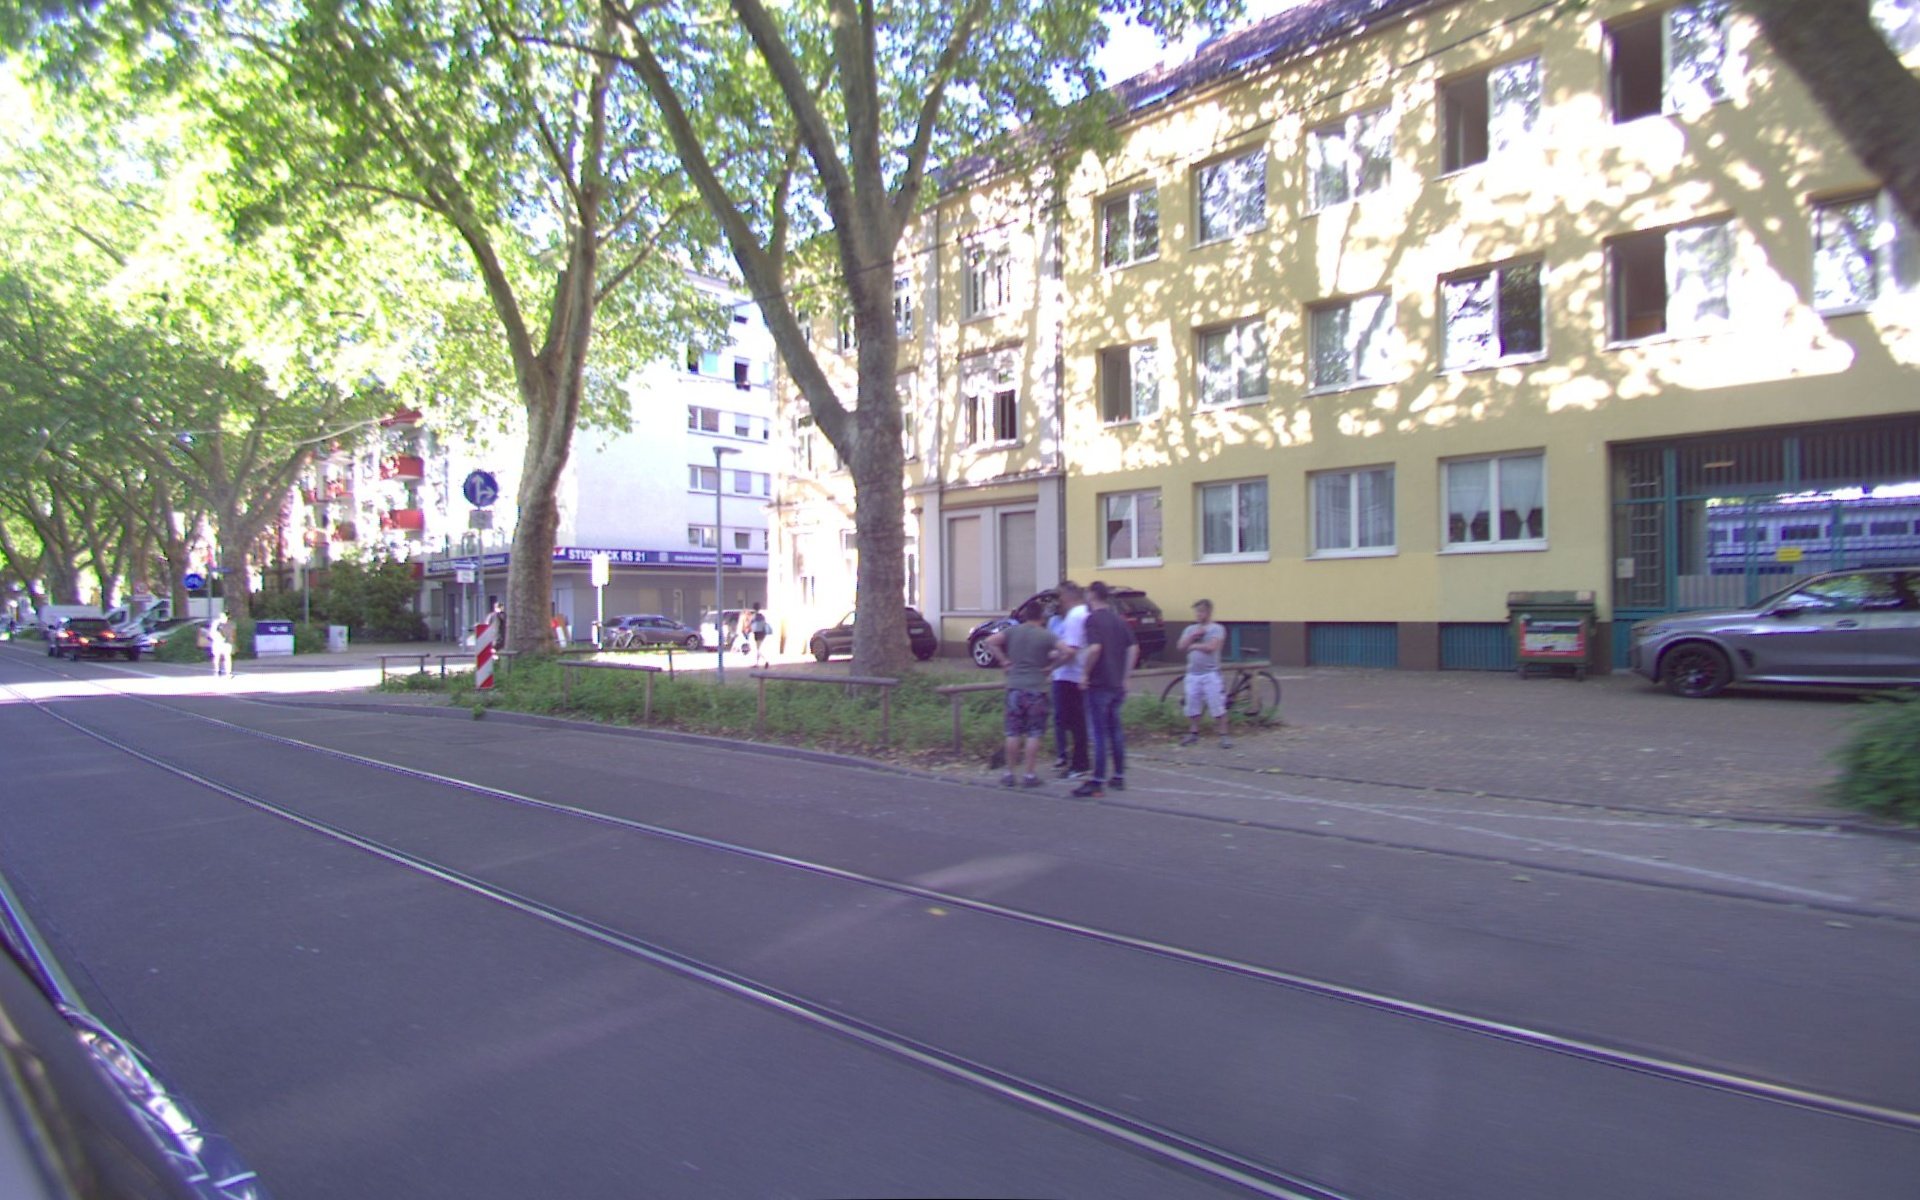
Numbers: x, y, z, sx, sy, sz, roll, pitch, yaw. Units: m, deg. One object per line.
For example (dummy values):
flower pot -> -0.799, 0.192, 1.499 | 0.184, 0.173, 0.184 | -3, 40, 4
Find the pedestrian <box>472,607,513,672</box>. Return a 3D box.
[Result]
pedestrian -> -13.073, 1.087, 28.324 | 0.730, 1.770, 0.735 | -1, 0, 22

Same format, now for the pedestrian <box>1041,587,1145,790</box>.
pedestrian -> 1.187, 0.771, 9.172 | 0.759, 1.748, 0.715 | -1, 0, -6

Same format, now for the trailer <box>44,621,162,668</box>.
trailer -> -32.783, 1.681, 38.624 | 6.581, 1.644, 2.421 | -1, -3, 41

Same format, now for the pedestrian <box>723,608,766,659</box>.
pedestrian -> -6.491, 0.985, 30.459 | 1.069, 1.490, 0.764 | -1, 0, 41

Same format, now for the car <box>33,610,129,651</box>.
car -> -58.280, 1.954, 67.168 | 2.000, 2.552, 4.599 | -1, 0, 43

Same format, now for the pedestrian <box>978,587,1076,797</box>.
pedestrian -> 0.569, 0.769, 8.874 | 0.703, 1.748, 0.772 | -1, 0, -6

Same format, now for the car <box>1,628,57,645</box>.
car -> -93.208, 3.648, 101.392 | 1.999, 1.478, 3.946 | -1, 0, 41

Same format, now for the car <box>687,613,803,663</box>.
car -> -8.149, 1.415, 38.538 | 1.799, 1.650, 3.959 | -6, -4, 42

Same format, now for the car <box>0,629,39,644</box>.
car -> -98.276, 3.804, 104.921 | 1.792, 1.478, 3.946 | -1, 0, 41

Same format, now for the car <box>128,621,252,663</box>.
car -> -33.192, 1.759, 43.685 | 1.908, 1.622, 3.946 | -1, 0, 41

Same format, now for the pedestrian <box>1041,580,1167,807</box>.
pedestrian -> 1.209, 0.740, 8.514 | 0.770, 1.790, 0.704 | -1, 0, 42

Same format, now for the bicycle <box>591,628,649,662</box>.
bicycle -> -11.548, 1.511, 34.466 | 0.655, 1.070, 1.846 | -1, 0, 35

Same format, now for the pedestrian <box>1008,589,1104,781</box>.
pedestrian -> 0.901, 0.777, 9.674 | 0.759, 1.748, 0.718 | -1, 0, -6

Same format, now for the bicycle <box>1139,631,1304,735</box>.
bicycle -> 3.022, 0.931, 11.687 | 1.820, 1.088, 0.571 | -1, 0, -20

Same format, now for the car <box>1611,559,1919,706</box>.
car -> 11.630, 0.389, 13.287 | 4.898, 1.746, 1.972 | -1, 0, 43

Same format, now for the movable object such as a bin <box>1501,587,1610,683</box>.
movable object such as a bin -> 9.925, 0.562, 16.863 | 1.343, 1.513, 1.217 | -1, 0, 42

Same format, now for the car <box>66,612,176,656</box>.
car -> -47.386, 1.876, 57.225 | 2.000, 2.323, 4.599 | -1, 0, 43

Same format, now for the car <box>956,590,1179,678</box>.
car -> 2.278, 0.695, 22.366 | 4.698, 1.750, 1.971 | -1, 0, 45

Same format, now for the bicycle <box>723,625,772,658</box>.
bicycle -> -7.399, 1.436, 35.345 | 0.652, 1.070, 1.852 | -5, -2, 24

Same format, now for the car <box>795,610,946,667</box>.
car -> -2.445, 0.999, 27.254 | 3.997, 1.398, 1.761 | -1, 0, 40

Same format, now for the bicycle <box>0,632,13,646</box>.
bicycle -> -65.260, 2.695, 69.258 | 1.557, 0.913, 0.526 | -1, 0, 43

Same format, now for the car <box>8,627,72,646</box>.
car -> -80.416, 3.157, 88.467 | 1.999, 1.478, 3.946 | -1, 0, 41

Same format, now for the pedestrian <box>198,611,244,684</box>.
pedestrian -> -18.856, 1.195, 25.827 | 0.799, 1.805, 0.693 | -1, 0, 30

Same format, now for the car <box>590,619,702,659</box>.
car -> -13.036, 1.589, 42.214 | 1.834, 1.489, 4.098 | -1, 0, 42

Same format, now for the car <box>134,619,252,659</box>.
car -> -34.723, 1.729, 45.863 | 1.999, 1.657, 3.946 | -1, 0, 41

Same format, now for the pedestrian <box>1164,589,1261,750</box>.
pedestrian -> 2.643, 0.705, 10.651 | 0.759, 1.622, 0.715 | -1, 0, -6

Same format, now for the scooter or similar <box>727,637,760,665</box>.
scooter or similar -> -6.380, 1.498, 29.824 | 0.896, 0.759, 0.522 | -1, 0, 41

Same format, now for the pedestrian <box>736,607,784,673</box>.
pedestrian -> -5.124, 1.006, 25.941 | 1.009, 1.650, 0.704 | -1, 0, 40

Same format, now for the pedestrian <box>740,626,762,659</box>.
pedestrian -> -6.851, 1.380, 33.160 | 0.540, 1.048, 0.541 | -1, 0, 10

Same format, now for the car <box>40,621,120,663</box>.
car -> -36.819, 1.737, 42.303 | 4.180, 1.696, 1.903 | -1, -3, 41

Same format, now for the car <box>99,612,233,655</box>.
car -> -40.611, 1.647, 51.877 | 1.997, 2.010, 5.071 | -1, 0, 38

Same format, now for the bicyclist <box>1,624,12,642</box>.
bicyclist -> -65.279, 2.280, 69.275 | 0.666, 1.222, 0.526 | -1, 0, 43
